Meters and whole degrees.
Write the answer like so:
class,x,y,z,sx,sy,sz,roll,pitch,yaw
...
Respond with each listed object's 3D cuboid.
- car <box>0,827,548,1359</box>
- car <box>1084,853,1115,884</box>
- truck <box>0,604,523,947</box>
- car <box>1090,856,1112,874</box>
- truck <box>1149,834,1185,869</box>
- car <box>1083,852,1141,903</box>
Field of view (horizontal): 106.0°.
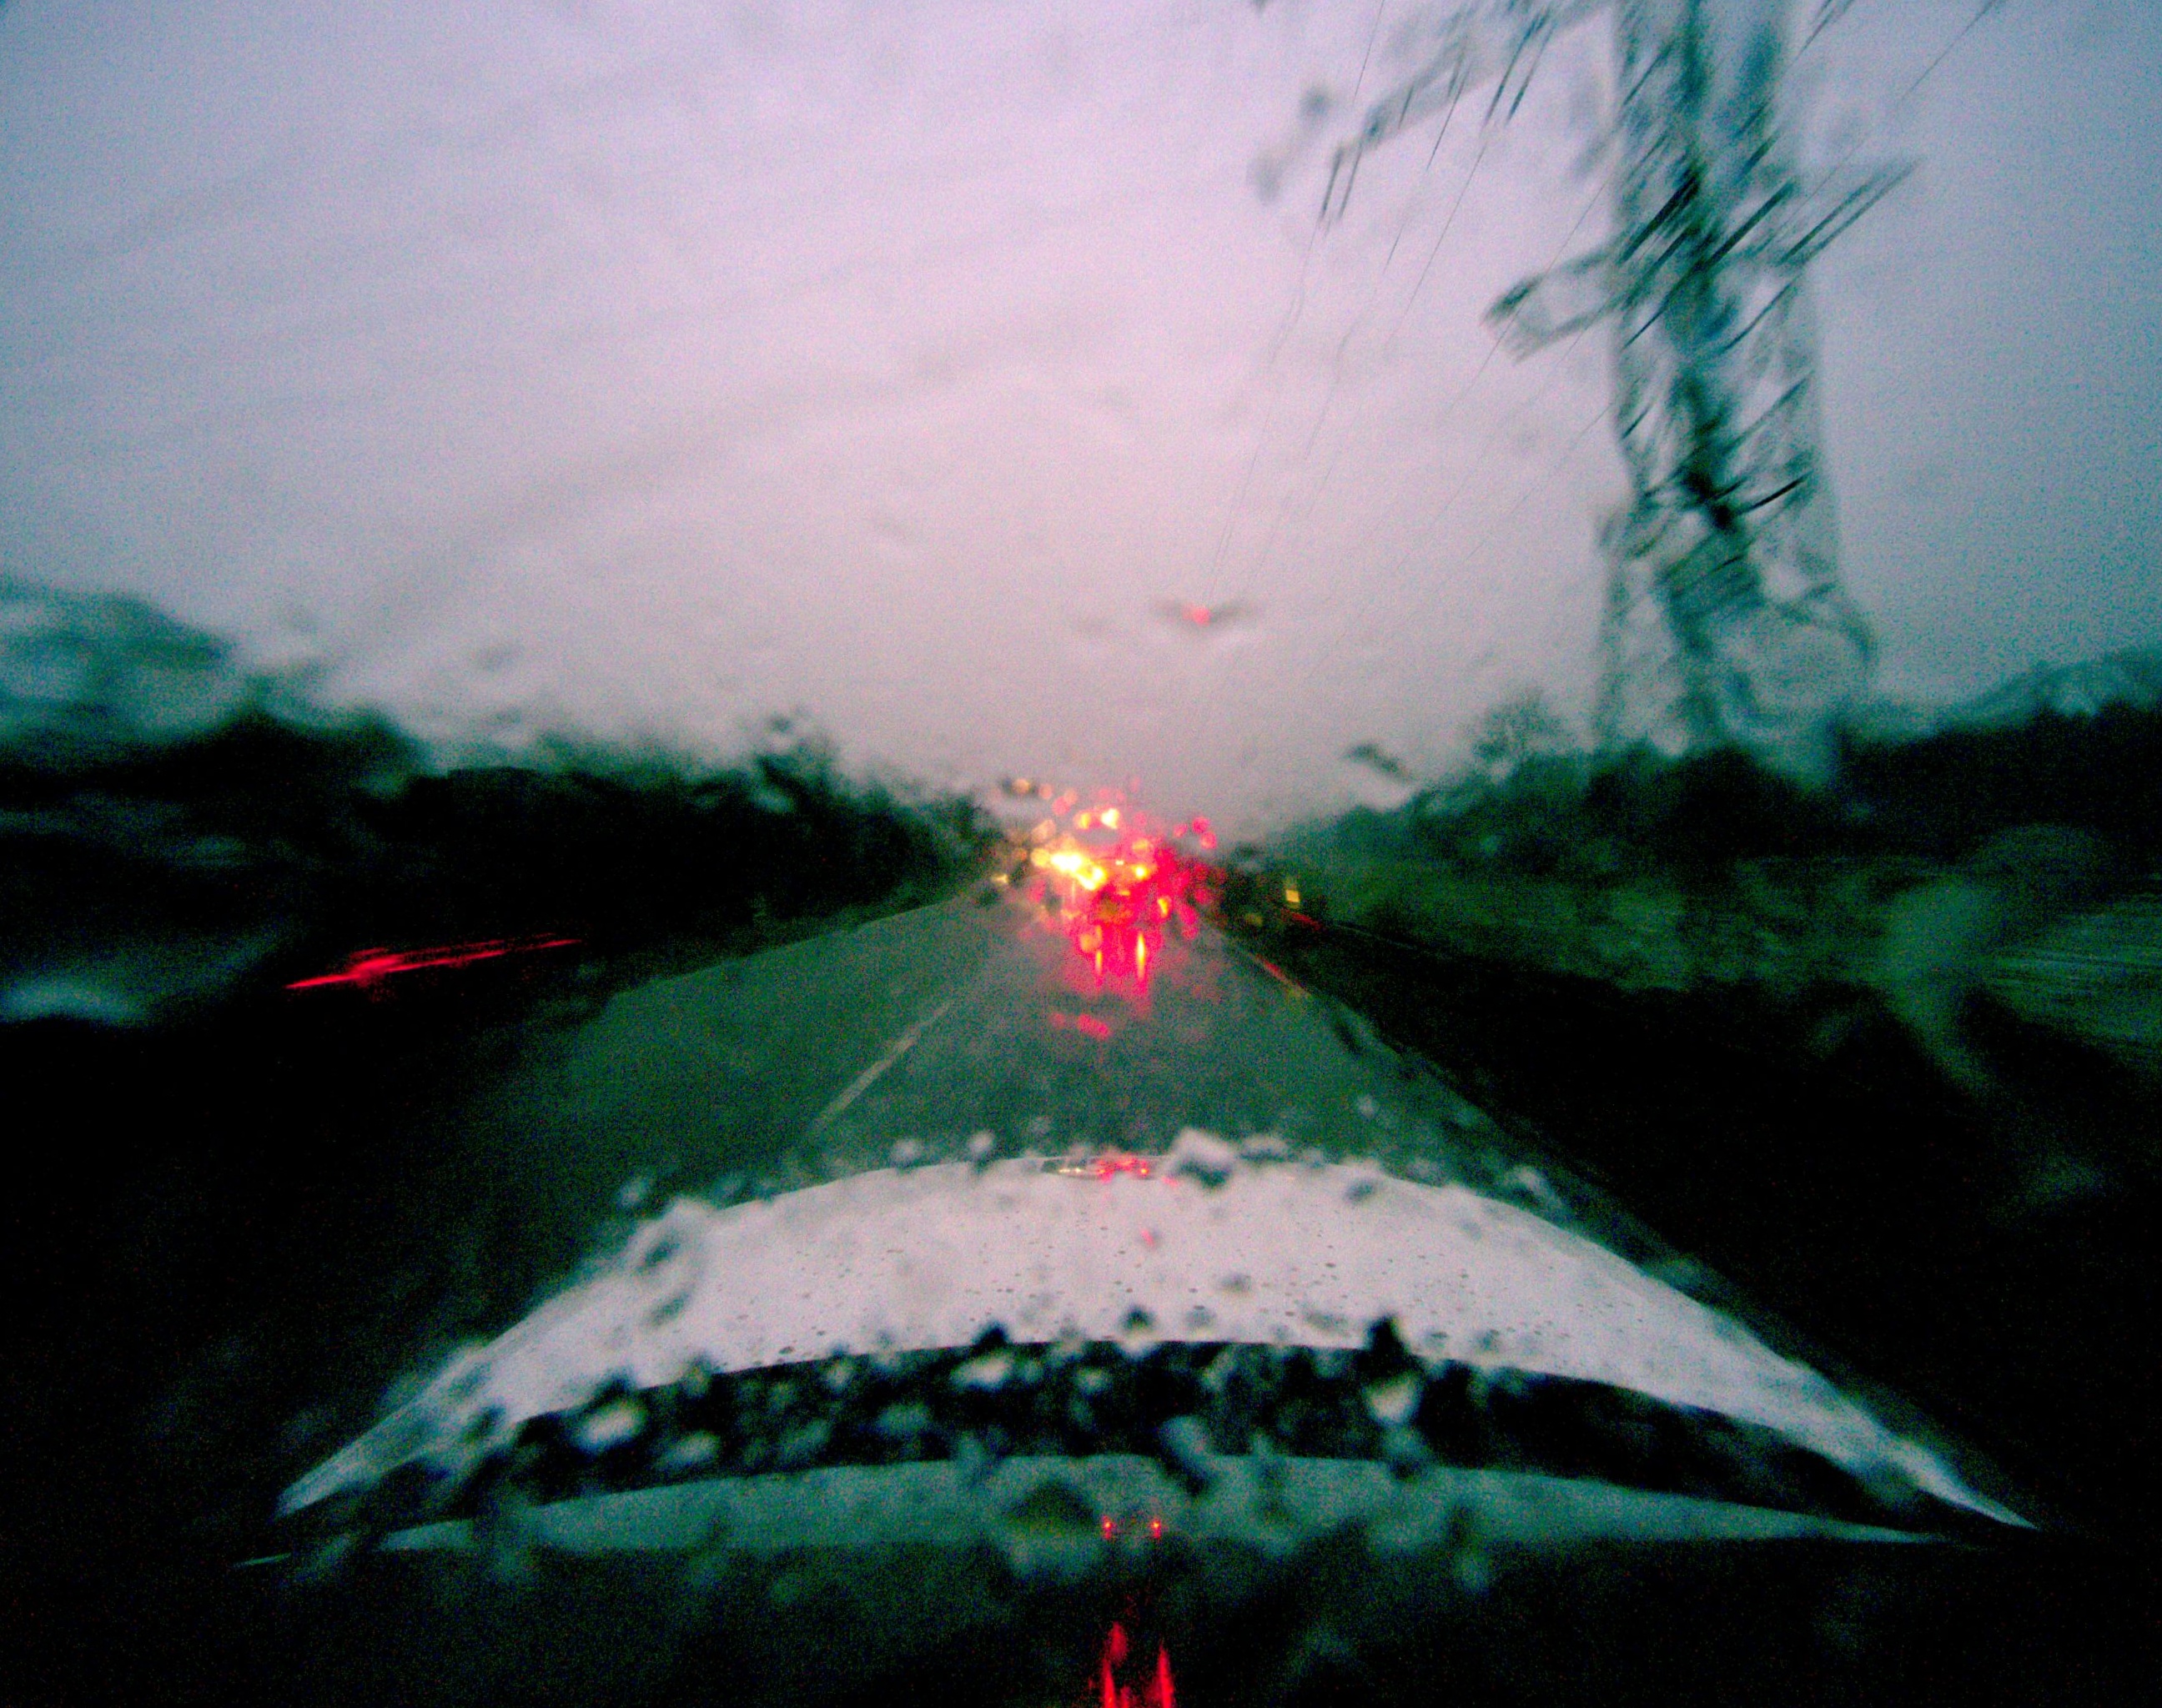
class,x,y,z,sx,sy,sz,roll,pitch,yaw
car,-4.140,0.735,2.771,1.728,1.613,4.214,-1,0,2
car,1.197,0.938,54.338,1.847,2.014,3.996,0,-1,-2
truck,-28.198,-1.764,14.669,7.515,7.713,40.163,-1,0,2
car,1.780,0.948,74.316,1.764,1.591,4.161,-1,0,-2
truck,7.676,-0.185,73.510,2.525,2.978,7.857,0,-1,0
car,0.882,0.663,24.385,1.496,1.398,3.197,0,-1,-2
